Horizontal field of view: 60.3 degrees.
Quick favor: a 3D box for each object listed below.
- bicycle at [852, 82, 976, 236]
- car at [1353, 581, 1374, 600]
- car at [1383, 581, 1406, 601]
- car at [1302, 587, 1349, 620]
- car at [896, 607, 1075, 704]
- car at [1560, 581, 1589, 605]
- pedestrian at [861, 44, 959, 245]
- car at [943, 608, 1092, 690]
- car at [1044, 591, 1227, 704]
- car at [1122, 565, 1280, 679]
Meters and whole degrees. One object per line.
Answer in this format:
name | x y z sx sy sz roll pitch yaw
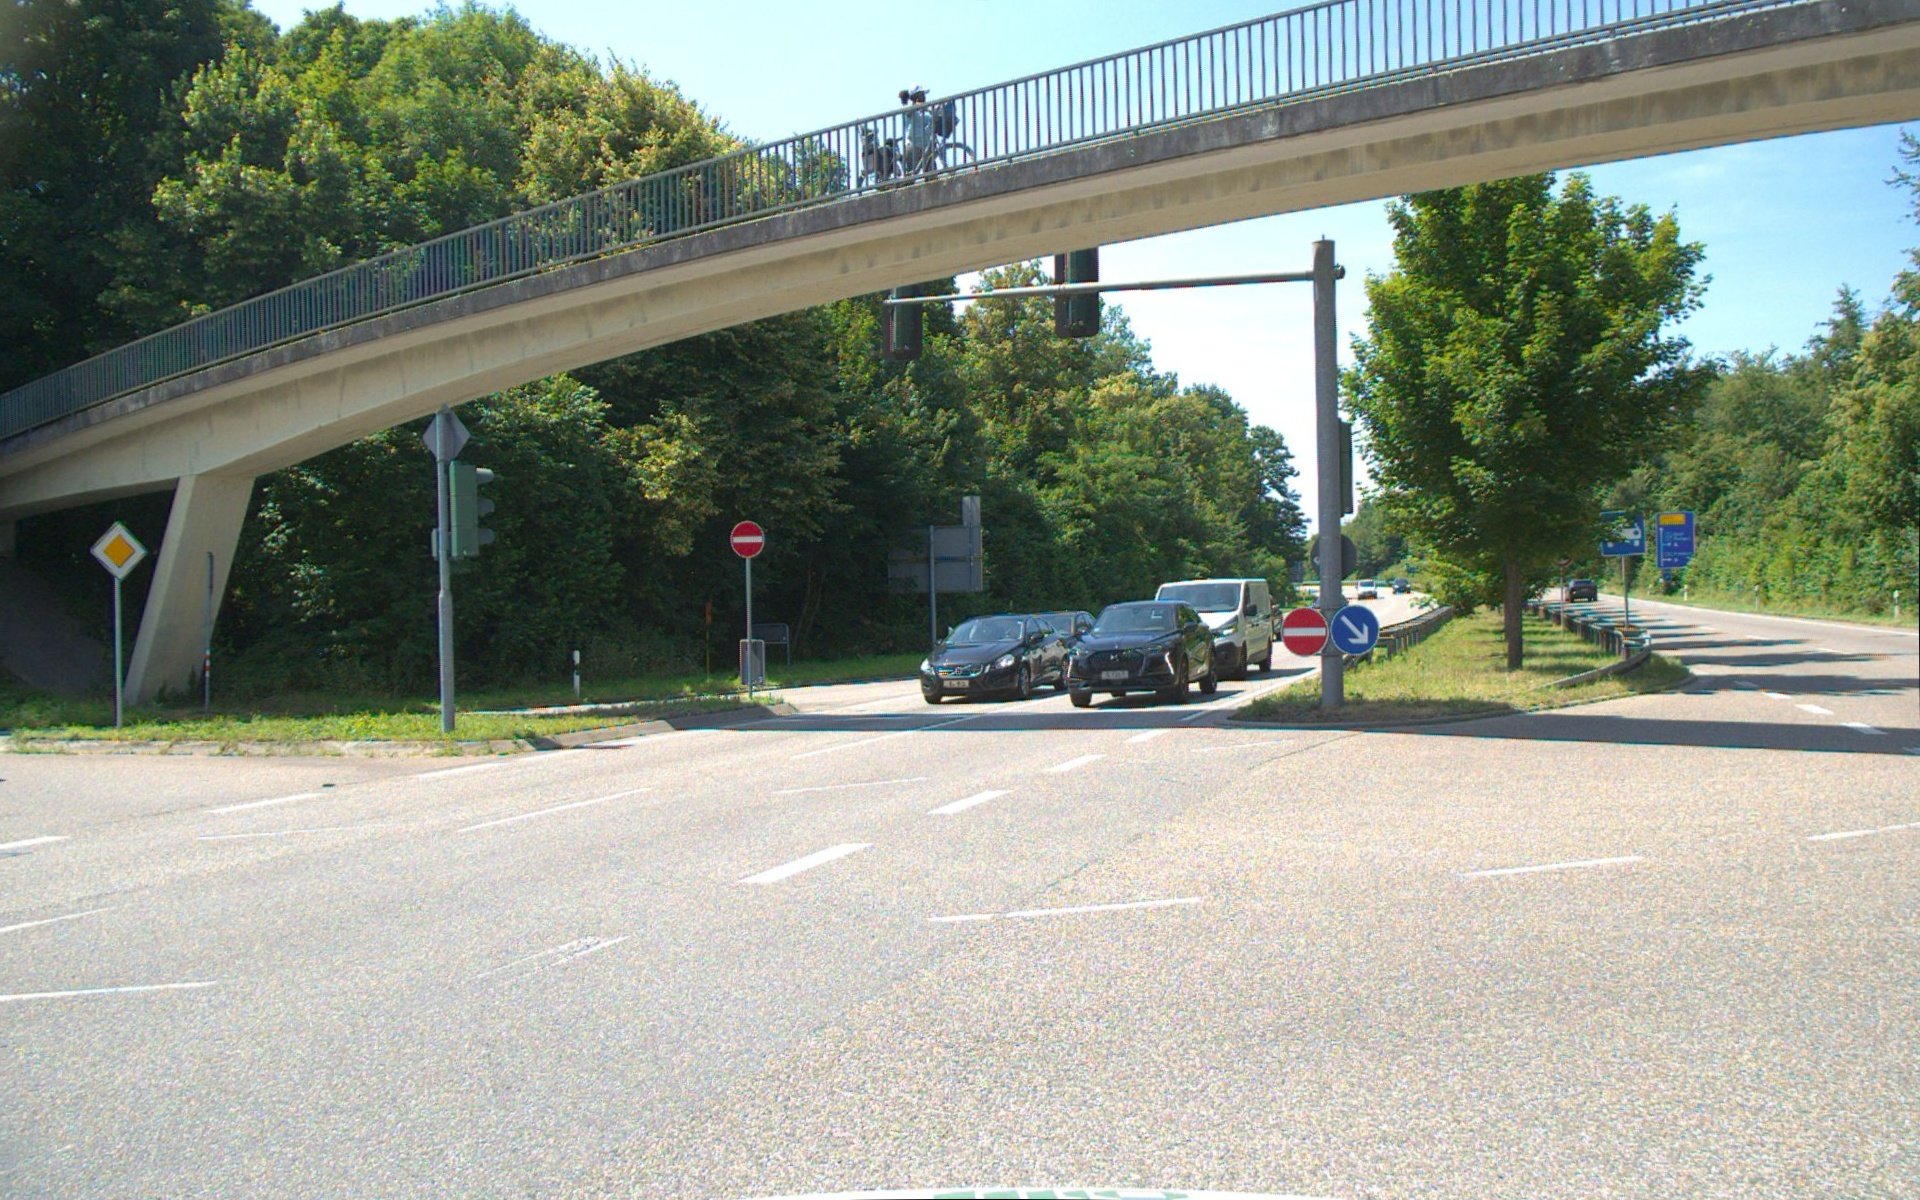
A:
bicycle | -0.578 -5.411 20.397 1.500 1.500 0.468 -3 -3 35
car | 39.837 -0.905 163.296 1.951 1.780 4.003 0 0 13
car | 47.205 -0.983 179.547 1.951 2.049 4.003 0 0 8
car | 19.556 0.174 88.346 1.966 1.629 4.057 -3 -1 18
car | 0.538 0.929 29.214 1.966 1.486 4.057 -3 -1 18
car | 46.581 -0.516 125.282 2.000 1.728 5.087 -1 1 21
pedestrian | -0.627 -5.688 20.770 0.768 2.177 0.928 -3 -3 35
car | 1.272 0.976 34.393 1.966 1.486 4.057 -3 -1 18
car | 2.823 0.684 25.779 1.952 1.550 4.029 -3 -1 18
car | 4.980 0.402 33.443 2.162 2.028 5.490 -3 -1 18
